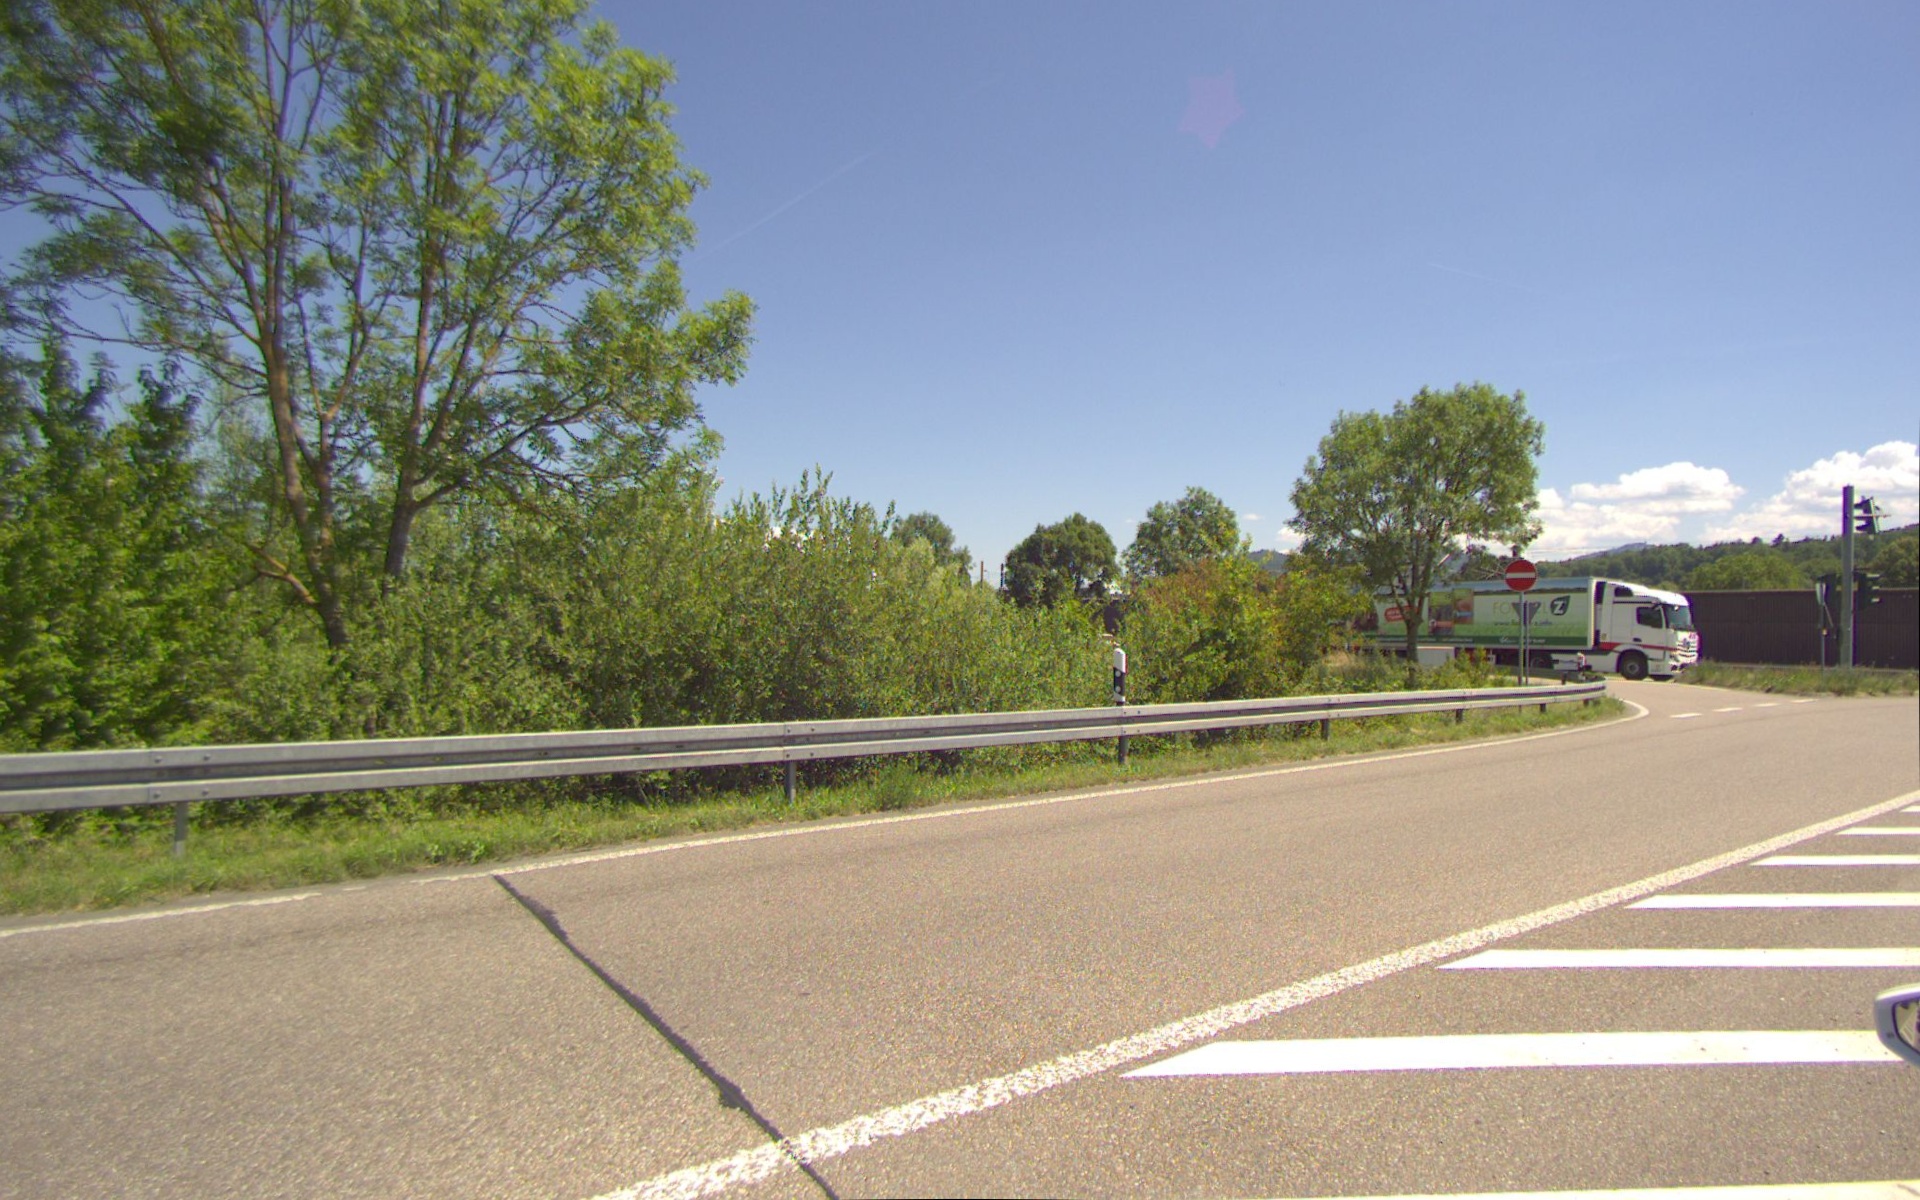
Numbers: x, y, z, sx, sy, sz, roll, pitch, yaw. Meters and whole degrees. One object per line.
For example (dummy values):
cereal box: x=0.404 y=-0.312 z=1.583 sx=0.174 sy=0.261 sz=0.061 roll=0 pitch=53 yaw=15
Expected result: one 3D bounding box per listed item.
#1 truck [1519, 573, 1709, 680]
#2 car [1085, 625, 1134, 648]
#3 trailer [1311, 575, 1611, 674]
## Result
truck: x=26.514 y=1.053 z=40.948 sx=3.027 sy=4.007 sz=5.736 roll=2 pitch=-1 yaw=-31
car: x=10.356 y=2.526 z=69.665 sx=1.537 sy=1.484 sz=3.455 roll=2 pitch=-1 yaw=-31
trailer: x=22.819 y=1.057 z=47.181 sx=3.027 sy=4.007 sz=13.074 roll=2 pitch=-1 yaw=-31
